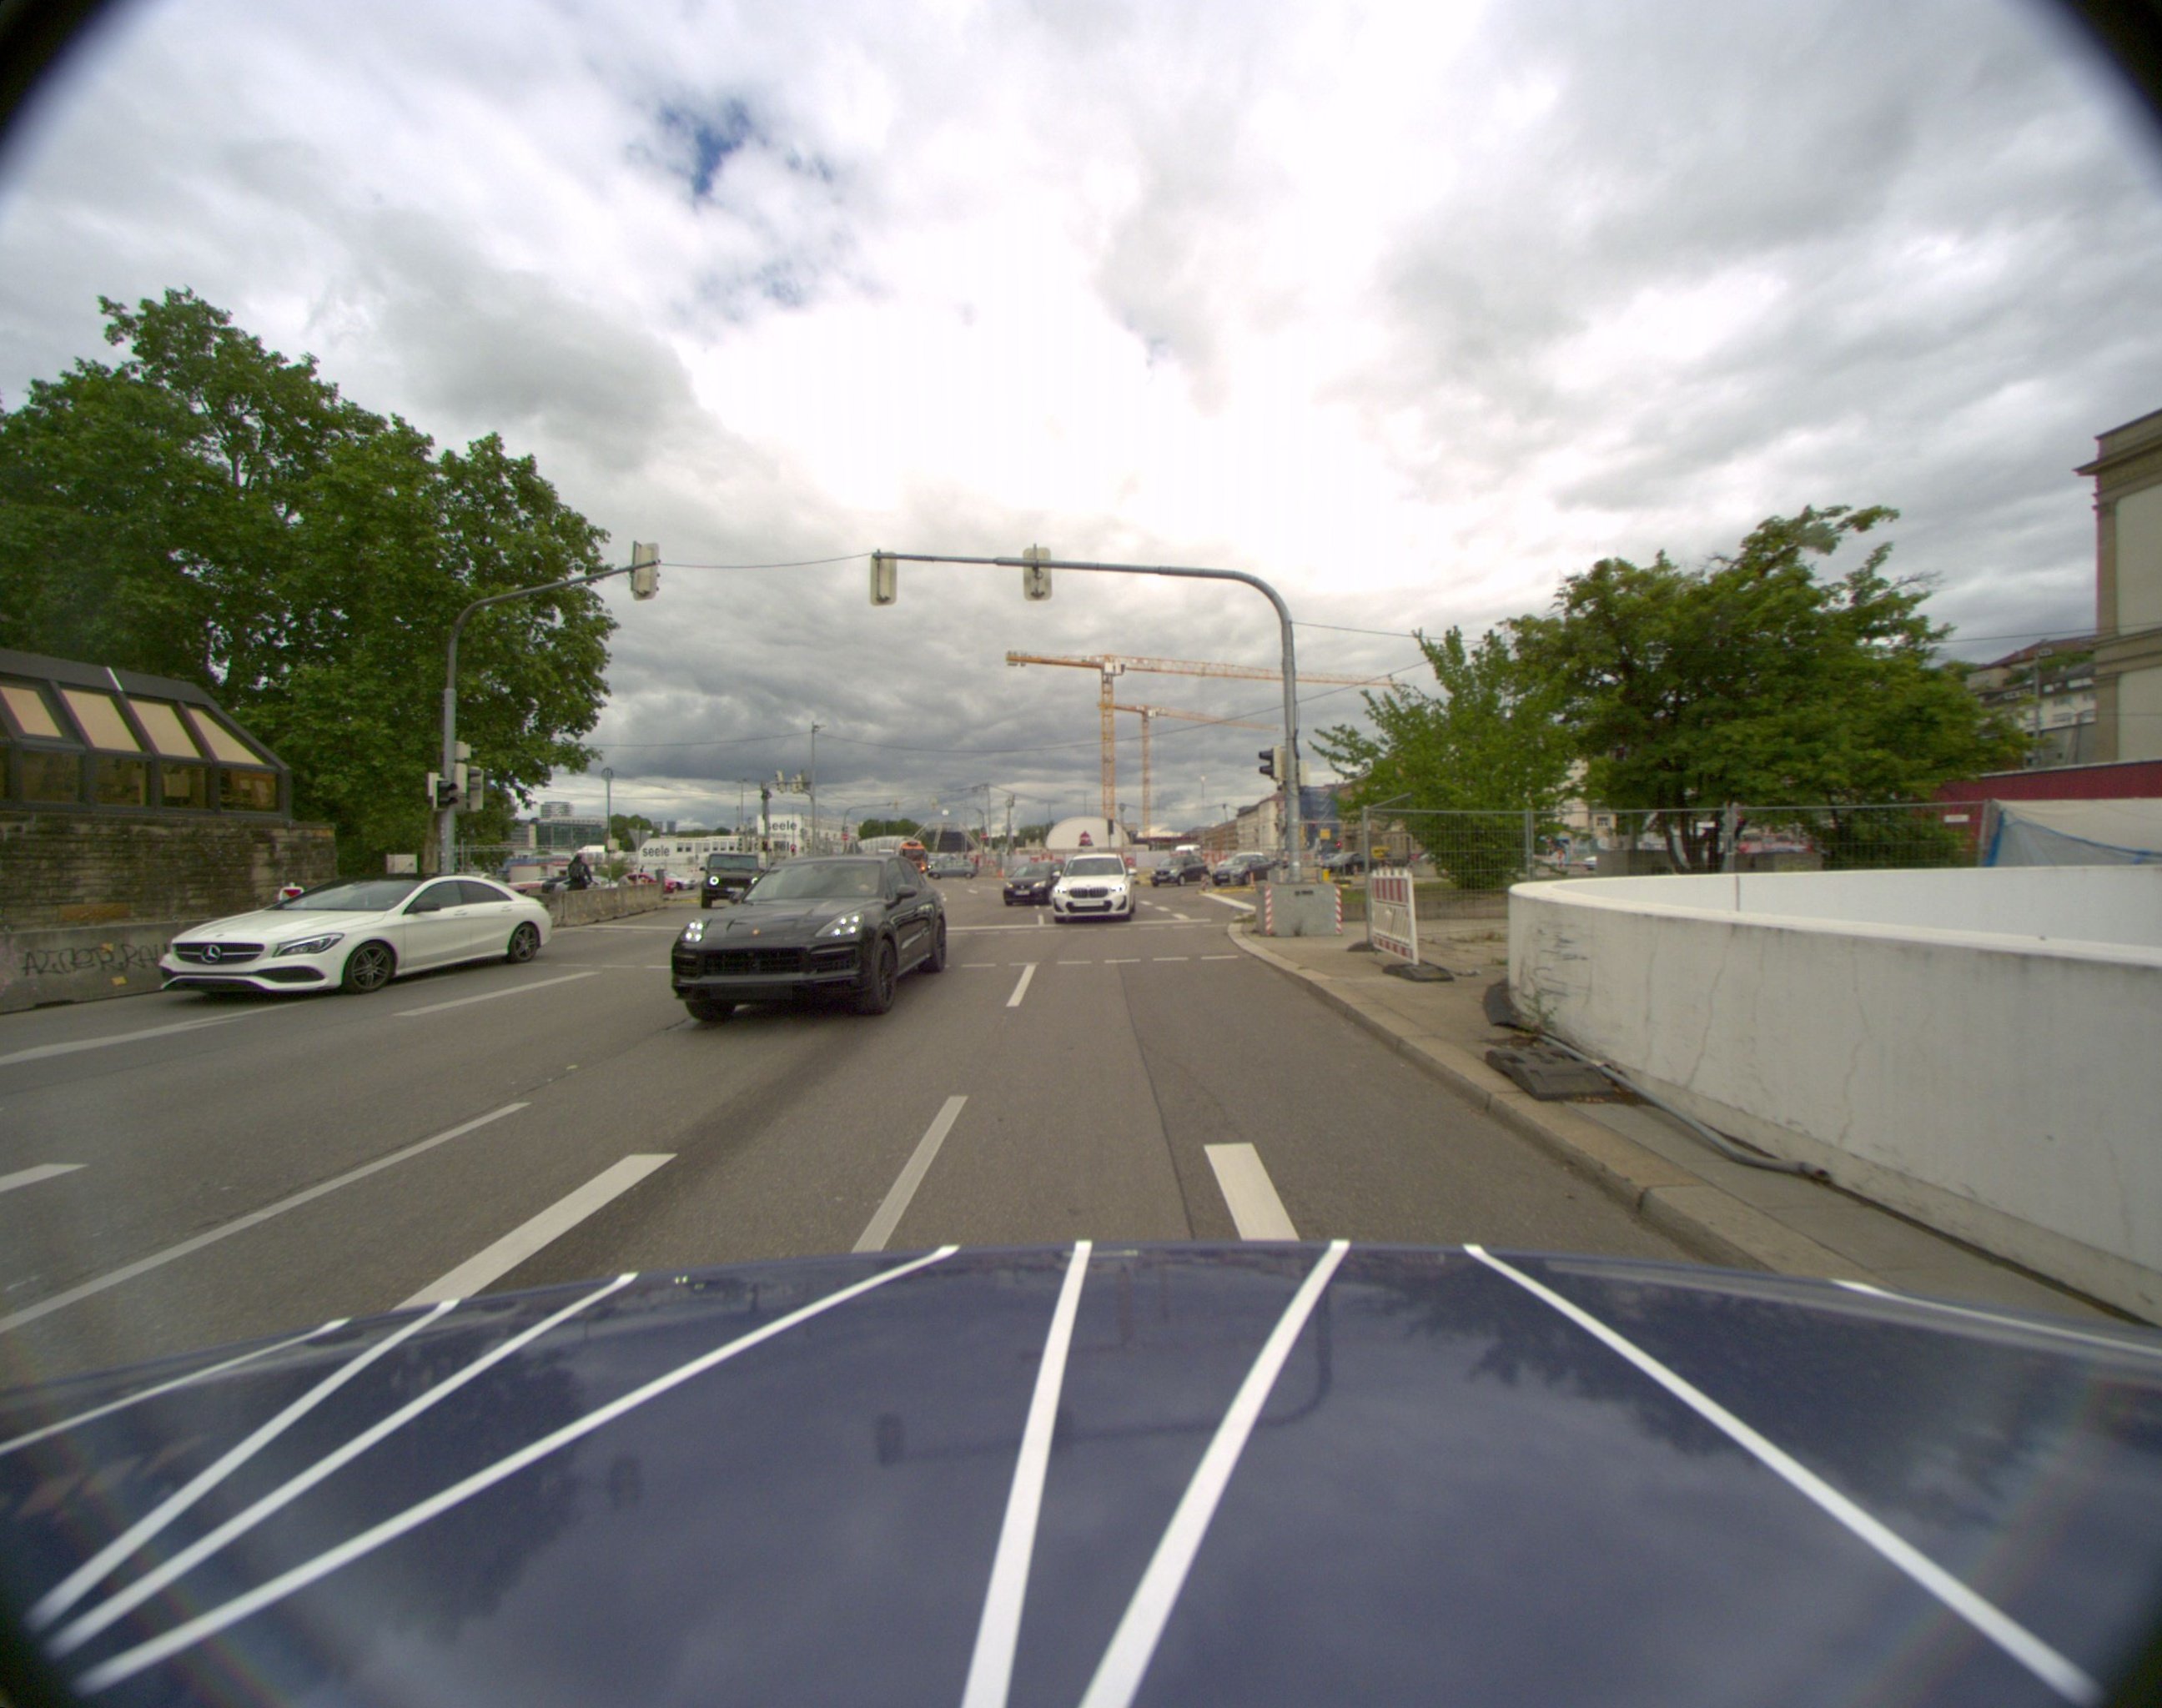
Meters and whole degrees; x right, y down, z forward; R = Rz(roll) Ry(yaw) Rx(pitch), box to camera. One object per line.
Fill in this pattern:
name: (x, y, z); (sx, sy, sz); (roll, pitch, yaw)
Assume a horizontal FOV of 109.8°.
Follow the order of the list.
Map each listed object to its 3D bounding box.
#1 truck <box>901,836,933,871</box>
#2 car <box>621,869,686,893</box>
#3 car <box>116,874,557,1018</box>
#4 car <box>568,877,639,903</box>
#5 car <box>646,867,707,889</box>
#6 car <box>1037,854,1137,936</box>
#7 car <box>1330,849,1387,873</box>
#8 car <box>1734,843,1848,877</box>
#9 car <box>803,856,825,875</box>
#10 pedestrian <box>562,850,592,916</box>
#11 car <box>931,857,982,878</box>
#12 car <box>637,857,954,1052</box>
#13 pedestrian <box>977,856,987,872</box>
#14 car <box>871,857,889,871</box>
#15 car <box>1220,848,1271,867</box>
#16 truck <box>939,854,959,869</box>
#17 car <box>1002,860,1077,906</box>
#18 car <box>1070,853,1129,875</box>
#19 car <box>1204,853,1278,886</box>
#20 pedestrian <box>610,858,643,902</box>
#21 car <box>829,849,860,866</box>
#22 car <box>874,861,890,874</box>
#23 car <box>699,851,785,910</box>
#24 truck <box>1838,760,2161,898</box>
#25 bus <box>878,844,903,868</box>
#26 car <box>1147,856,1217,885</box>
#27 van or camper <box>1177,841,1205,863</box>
truck: (-17.933, -0.094, 82.773); (2.912, 3.654, 9.014); (-1, 0, -15)
car: (-29.190, 1.830, 51.899); (3.443, 1.427, 1.691); (-1, 2, 5)
car: (-9.442, 1.037, 10.290); (1.739, 1.427, 4.380); (1, 0, -2)
car: (-30.630, 2.296, 48.773); (3.443, 1.427, 1.665); (-3, 2, 3)
car: (-29.139, 1.716, 54.842); (3.443, 1.427, 1.694); (-2, 2, 5)
car: (0.258, 0.862, 17.667); (1.811, 1.595, 3.715); (-3, 0, 7)
car: (18.283, 0.466, 49.965); (4.113, 1.412, 1.872); (-2, 0, -44)
car: (34.062, 0.312, 36.627); (1.769, 1.495, 4.133); (-1, -1, 3)
car: (-29.526, 1.275, 84.072); (2.001, 2.001, 3.995); (0, -1, -16)
pedestrian: (-15.802, 0.903, 23.841); (0.623, 2.002, 0.849); (-2, 1, -27)
car: (-10.205, 1.100, 62.423); (3.953, 1.564, 1.692); (-2, -2, -5)
car: (-2.936, 0.930, 9.086); (1.956, 1.638, 4.609); (-3, -1, 0)
pedestrian: (-9.673, 0.955, 74.147); (0.851, 1.583, 0.622); (-2, 1, -18)
car: (-21.104, 0.996, 79.724); (1.788, 1.427, 4.063); (-1, 0, -15)
car: (14.329, 0.319, 66.264); (4.068, 1.564, 1.693); (0, -1, 1)
truck: (-14.099, 0.785, 80.991); (1.827, 1.531, 3.756); (-1, 0, -14)
car: (-1.395, 0.971, 27.371); (1.731, 1.461, 4.422); (0, 0, 10)
car: (1.488, 0.790, 62.768); (4.680, 1.569, 1.910); (-2, 1, -2)
car: (7.835, 0.722, 36.994); (1.849, 1.412, 4.113); (-2, 0, 38)
pedestrian: (-21.555, 1.214, 36.033); (1.206, 2.002, 1.191); (-2, 0, -35)
car: (-28.711, 0.452, 92.243); (1.997, 2.001, 4.168); (0, -1, 8)
car: (-22.418, 1.482, 85.693); (1.653, 1.427, 3.614); (-1, 0, -15)
car: (-11.814, 0.941, 26.715); (1.939, 1.926, 3.670); (1, -2, -11)
truck: (33.382, -0.717, 24.125); (2.924, 4.059, 16.618); (0, 0, 3)
bus: (-26.220, 0.285, 104.863); (2.814, 3.150, 9.394); (0, -1, -11)
car: (5.114, 0.795, 38.356); (3.578, 1.411, 1.573); (0, 1, -43)
van or camper: (11.732, -0.229, 80.973); (1.995, 2.215, 4.005); (0, 2, 22)
